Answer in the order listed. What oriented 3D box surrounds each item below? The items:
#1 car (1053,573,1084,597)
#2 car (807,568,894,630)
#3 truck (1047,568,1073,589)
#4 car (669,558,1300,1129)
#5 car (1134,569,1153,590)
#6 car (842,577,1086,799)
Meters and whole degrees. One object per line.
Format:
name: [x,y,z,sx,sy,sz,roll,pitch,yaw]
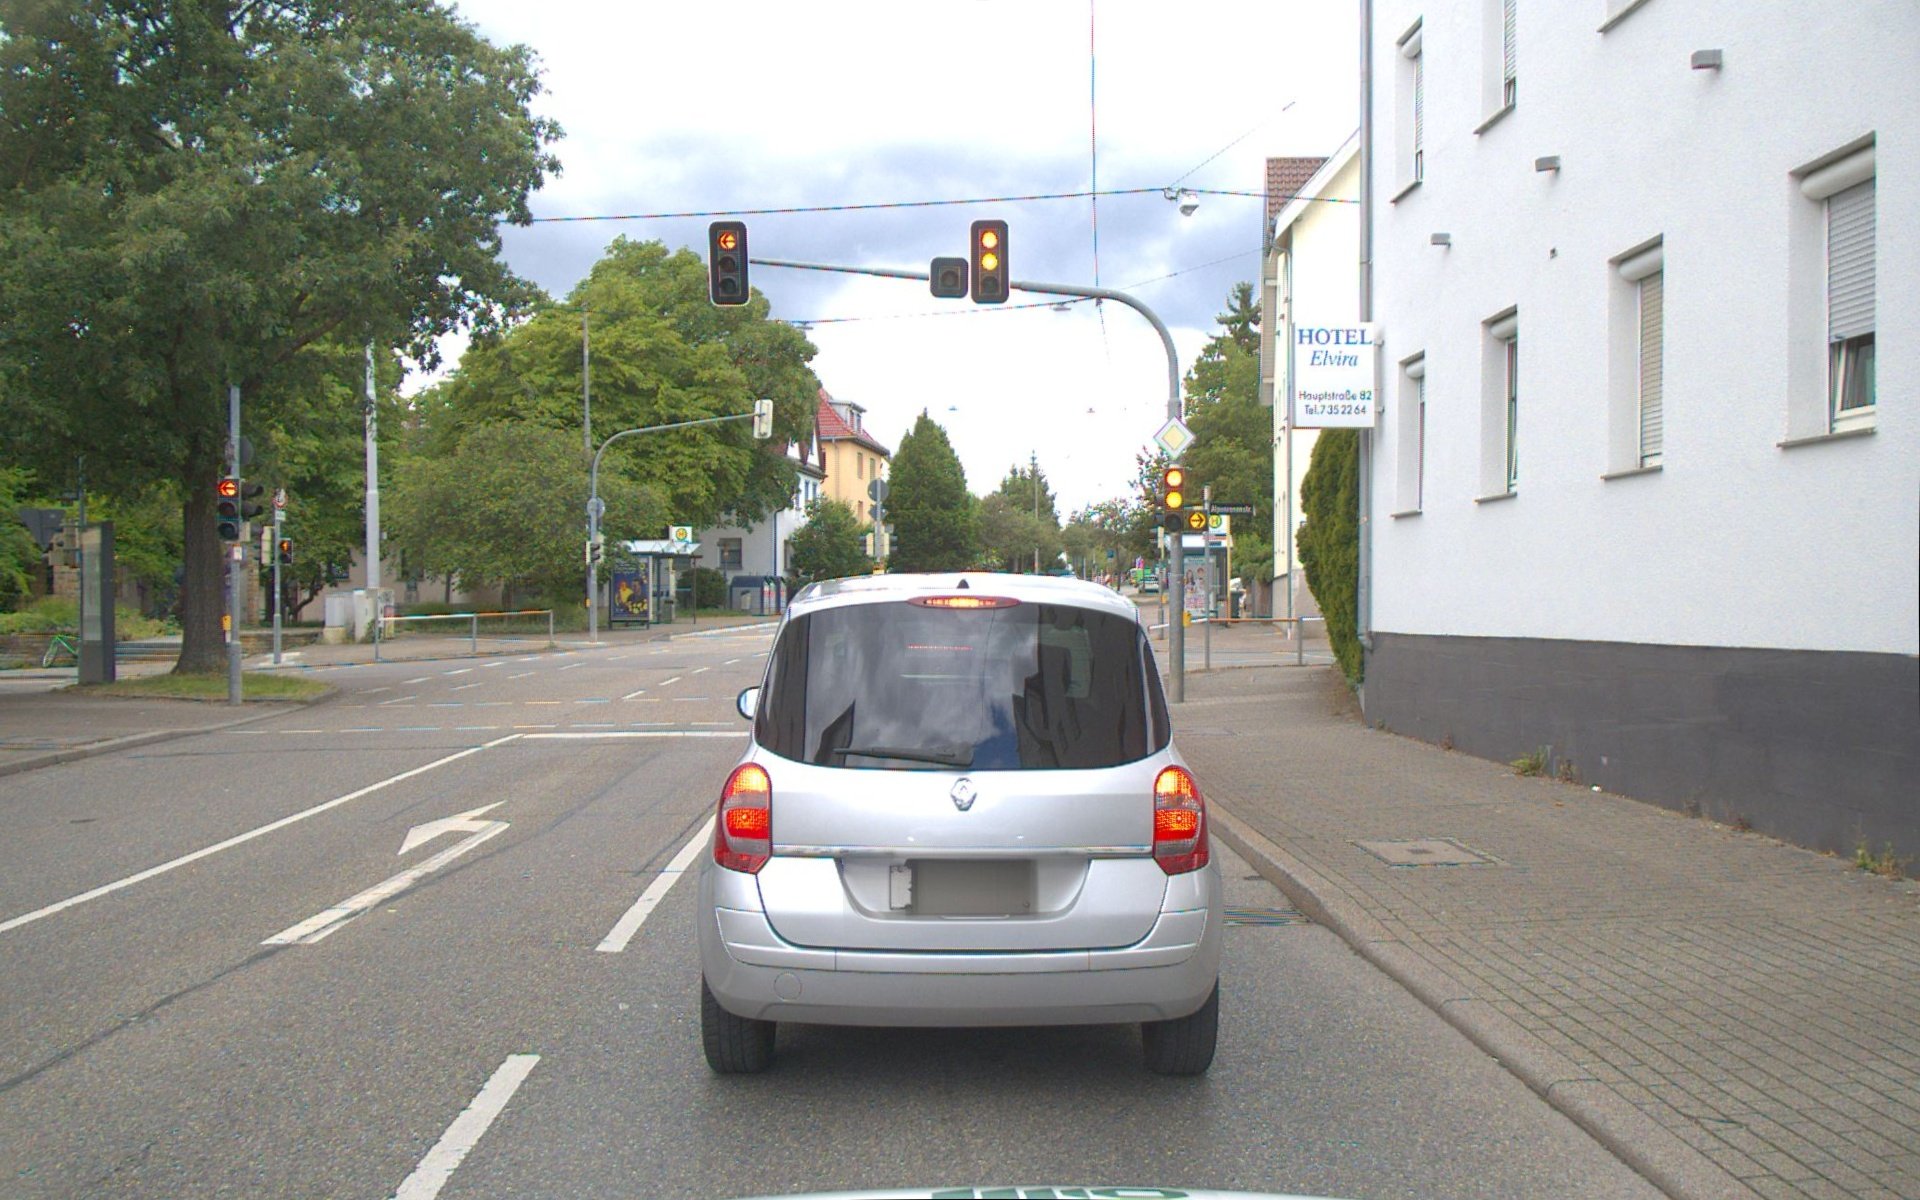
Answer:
car: [8.154,-1.094,124.052,1.818,1.778,4.003,1,0,11]
car: [-3.535,-0.052,54.135,1.885,1.804,4.004,-4,0,9]
truck: [10.088,-2.159,166.691,2.056,2.049,5.752,1,0,9]
car: [0.032,0.671,6.538,1.719,1.557,3.999,1,0,-1]
car: [23.247,-2.588,209.229,2.015,2.556,5.600,1,0,11]
car: [-0.010,0.625,13.621,1.719,1.557,3.796,1,0,-1]
